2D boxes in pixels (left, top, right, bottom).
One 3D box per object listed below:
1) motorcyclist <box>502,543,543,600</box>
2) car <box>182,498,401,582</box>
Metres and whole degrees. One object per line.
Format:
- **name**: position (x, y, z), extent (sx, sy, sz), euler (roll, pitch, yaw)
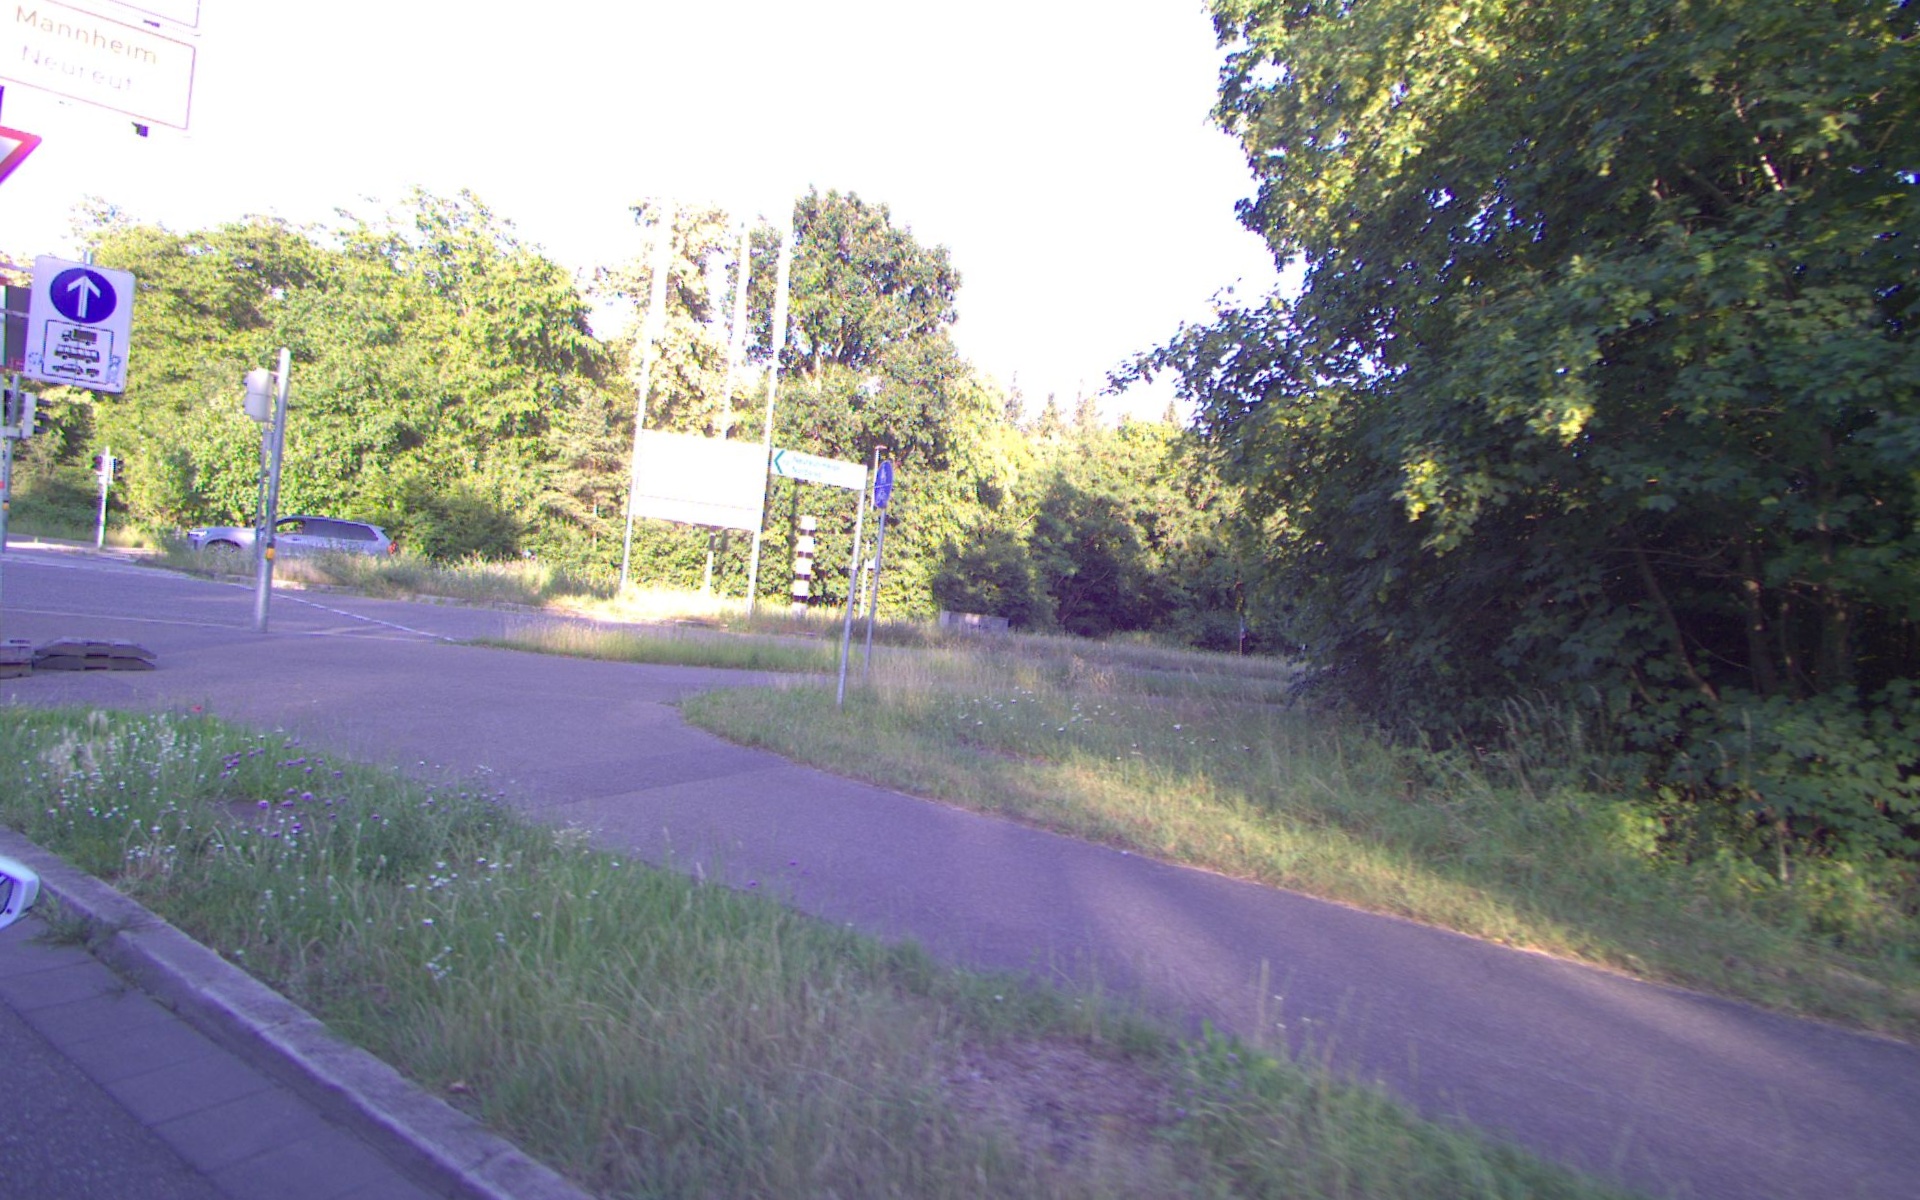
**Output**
- **motorcyclist**: position (-13.178, -0.856, 30.313), extent (0.881, 1.615, 0.648), euler (6, 1, -36)
- **car**: position (-18.344, -1.605, 27.766), extent (4.789, 1.618, 1.980), euler (7, 0, -37)
